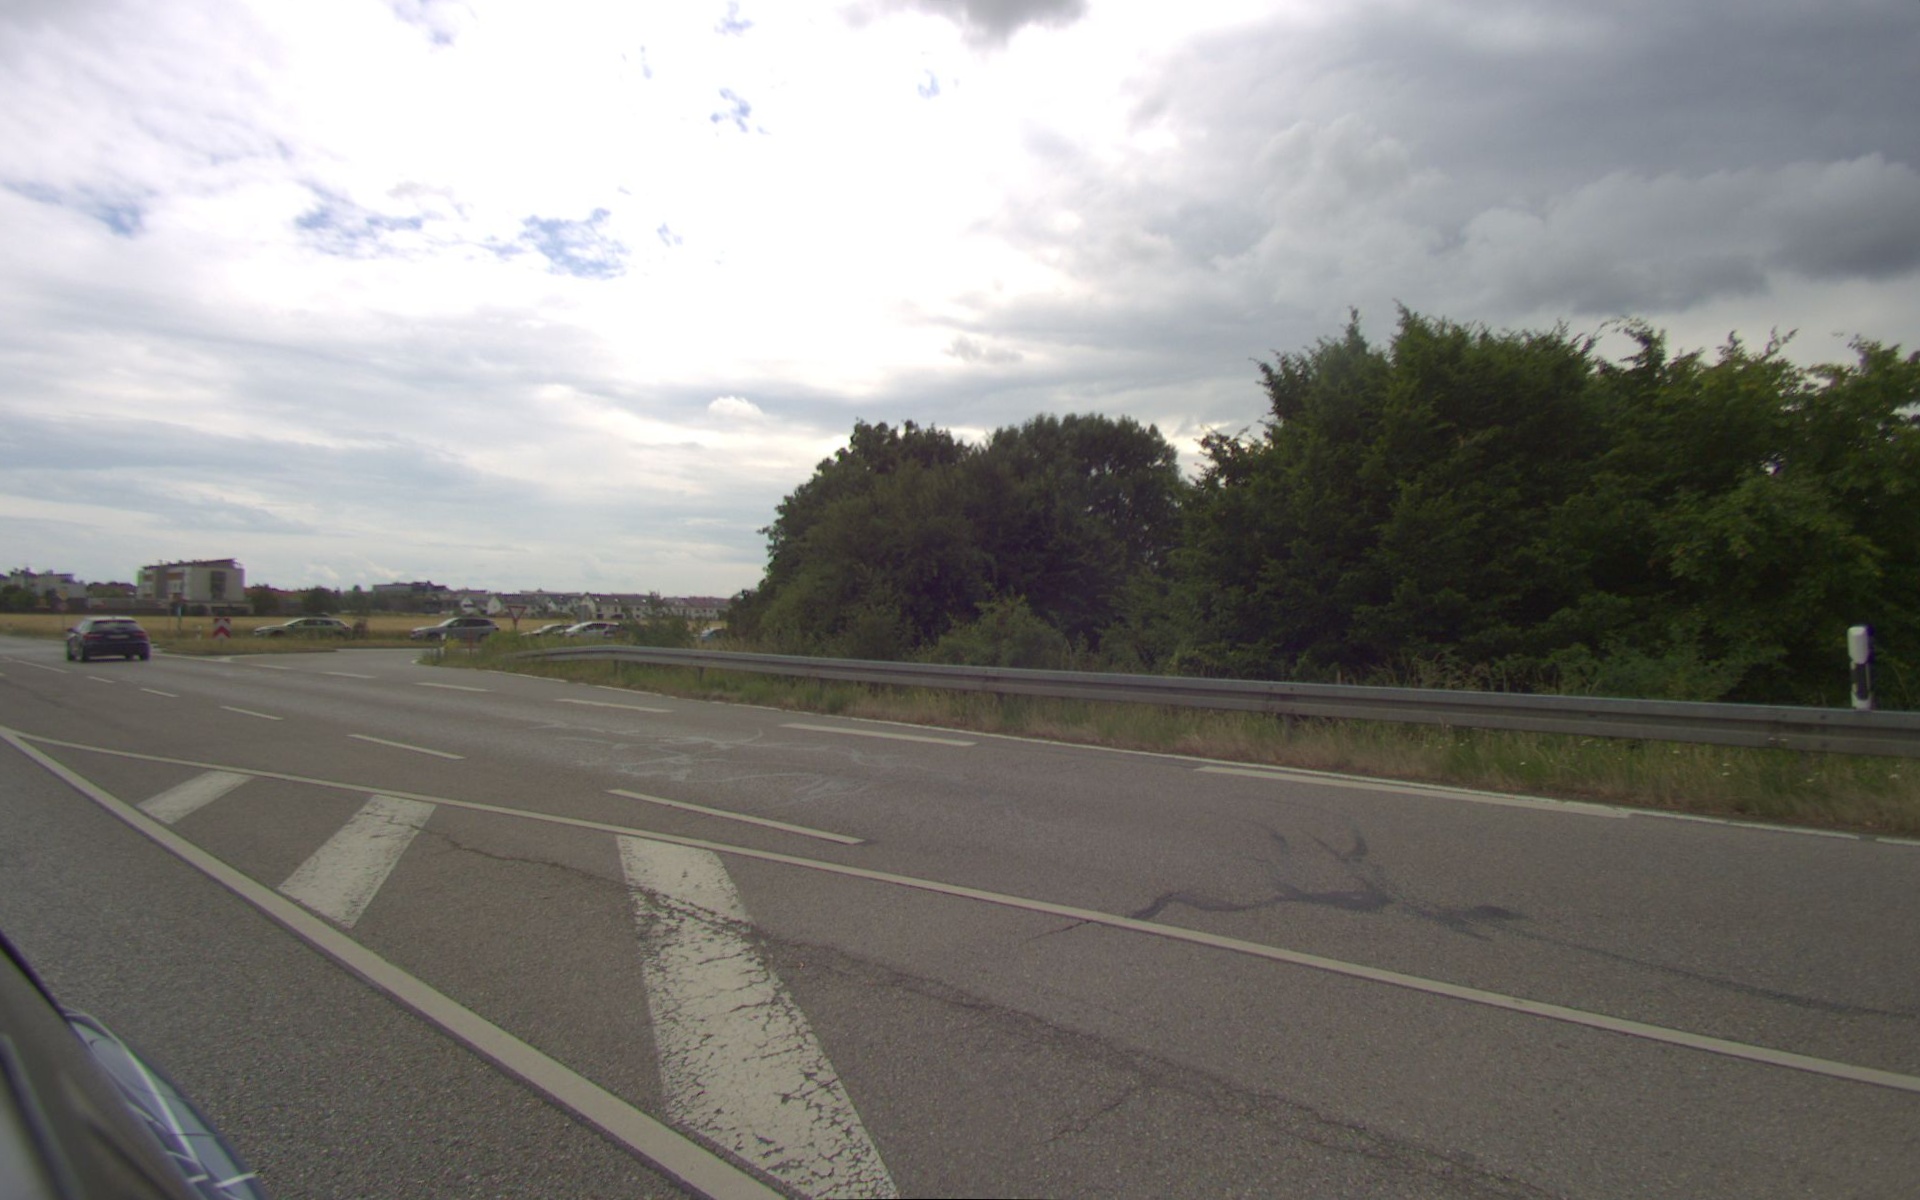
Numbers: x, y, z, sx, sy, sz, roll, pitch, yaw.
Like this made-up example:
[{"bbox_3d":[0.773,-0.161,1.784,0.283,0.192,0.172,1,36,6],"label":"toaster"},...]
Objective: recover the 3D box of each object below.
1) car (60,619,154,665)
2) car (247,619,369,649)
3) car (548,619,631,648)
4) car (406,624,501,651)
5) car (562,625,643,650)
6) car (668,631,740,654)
[{"bbox_3d":[-27.677,1.320,32.810,3.999,1.387,1.842,-1,-1,42],"label":"car"},{"bbox_3d":[-34.607,1.806,53.831,5.221,1.533,1.913,2,-2,-43],"label":"car"},{"bbox_3d":[-21.201,1.911,58.114,1.701,1.623,4.435,-1,-2,30],"label":"car"},{"bbox_3d":[-29.342,2.160,58.735,4.568,1.528,1.913,2,-2,-43],"label":"car"},{"bbox_3d":[-22.707,2.375,64.356,4.437,1.493,1.913,2,-2,-43],"label":"car"},{"bbox_3d":[-17.475,2.879,69.170,4.437,1.493,1.913,2,-2,-43],"label":"car"}]
